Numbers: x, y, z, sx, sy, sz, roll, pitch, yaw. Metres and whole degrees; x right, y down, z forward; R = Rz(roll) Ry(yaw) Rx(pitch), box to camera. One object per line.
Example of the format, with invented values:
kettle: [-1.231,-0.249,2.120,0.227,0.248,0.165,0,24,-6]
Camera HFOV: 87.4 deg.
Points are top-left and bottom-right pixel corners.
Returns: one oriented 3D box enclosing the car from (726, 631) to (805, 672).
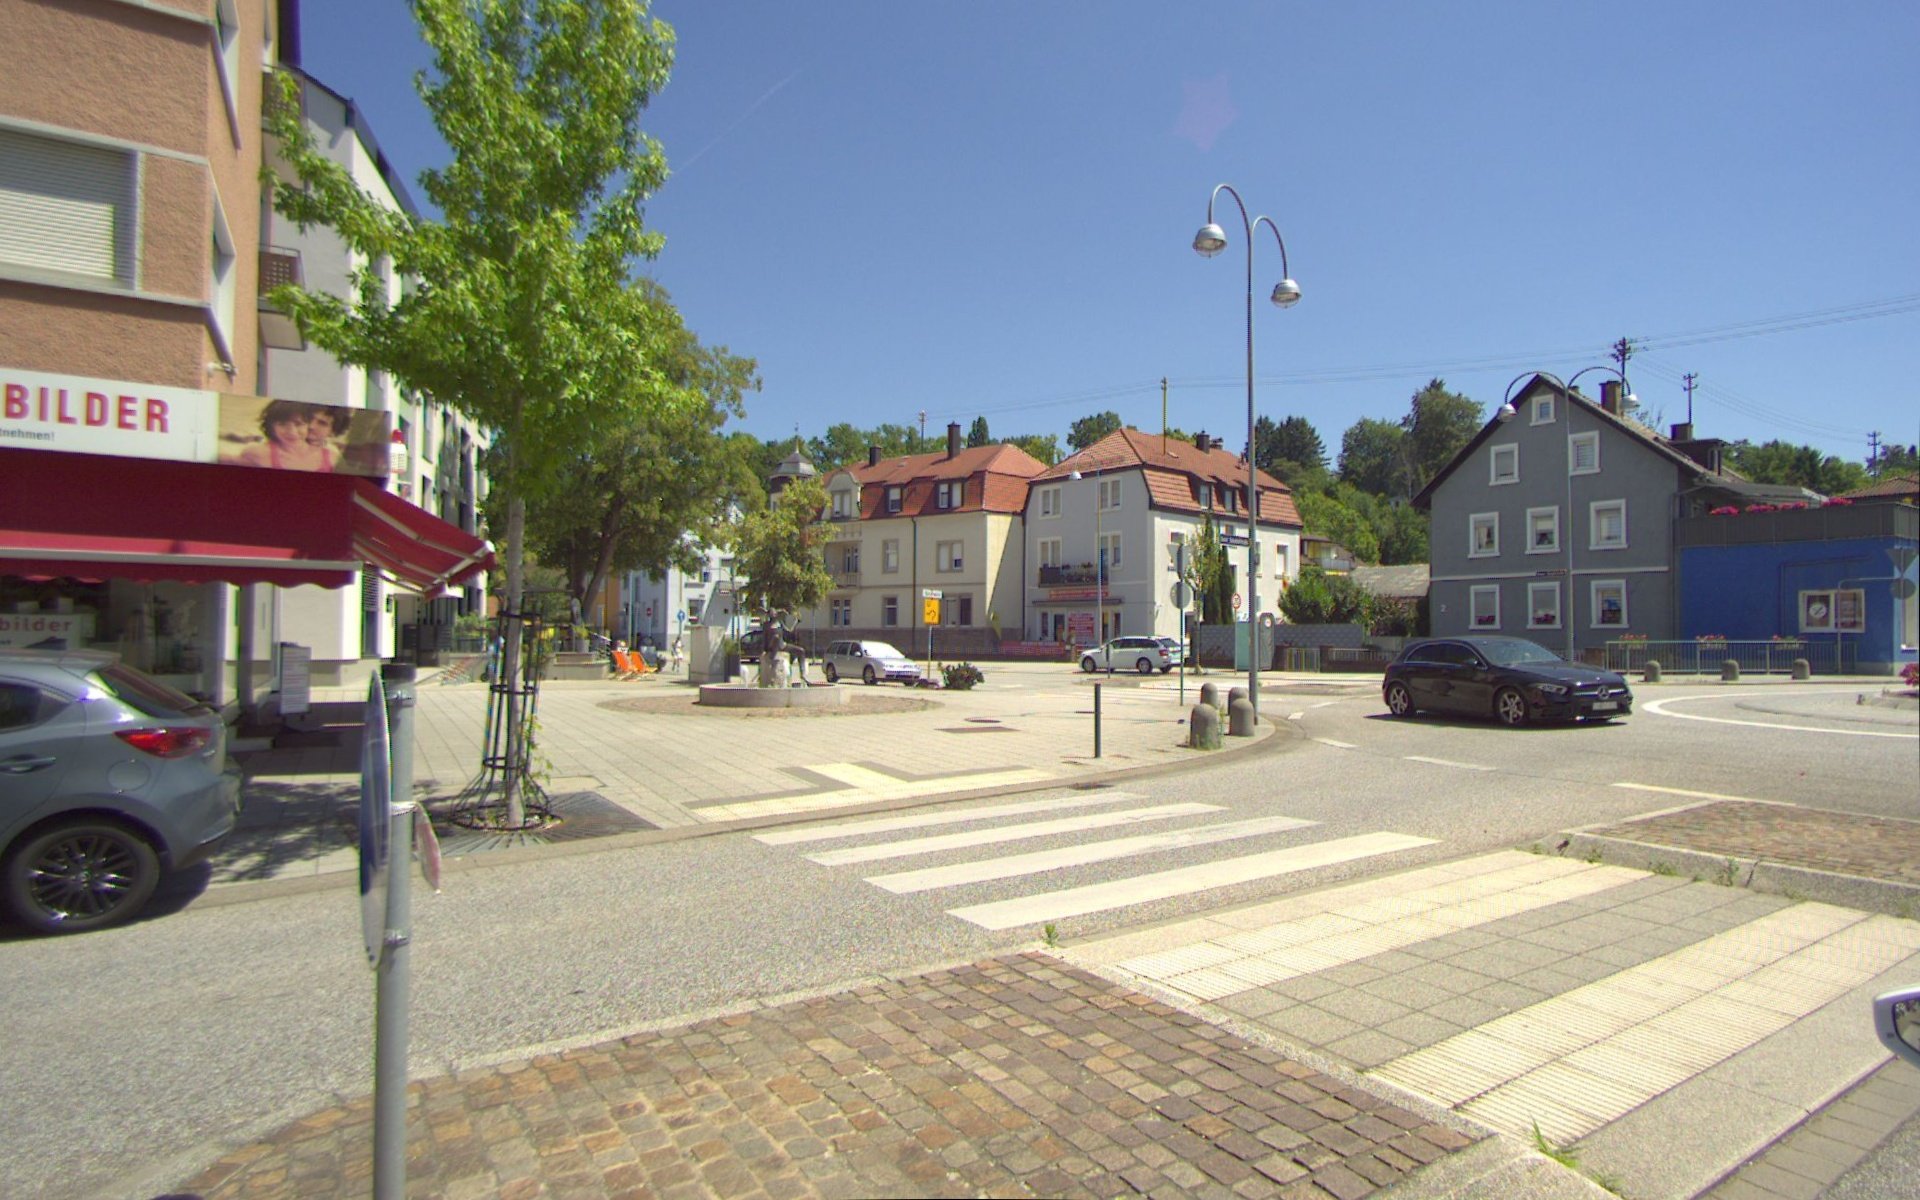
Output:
car: [-10.702,2.774,55.194,3.931,2.040,1.995,1,-1,32]

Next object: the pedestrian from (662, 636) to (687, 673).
pedestrian: [-13.143,2.508,46.283,0.939,1.670,0.812,1,-2,-30]

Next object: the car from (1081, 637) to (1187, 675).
car: [7.005,2.230,40.638,4.020,1.410,1.600,-2,-2,42]

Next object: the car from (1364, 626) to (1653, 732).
car: [9.040,1.304,17.071,1.738,1.476,4.429,-2,-3,-13]

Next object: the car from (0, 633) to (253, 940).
car: [-6.180,0.970,5.262,4.021,1.506,1.655,1,0,-36]

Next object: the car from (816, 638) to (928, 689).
car: [-2.962,2.049,33.188,1.781,1.544,3.956,1,-2,-39]

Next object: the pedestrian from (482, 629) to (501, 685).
pedestrian: [-13.892,1.674,29.760,0.445,1.640,0.447,1,-2,-34]
